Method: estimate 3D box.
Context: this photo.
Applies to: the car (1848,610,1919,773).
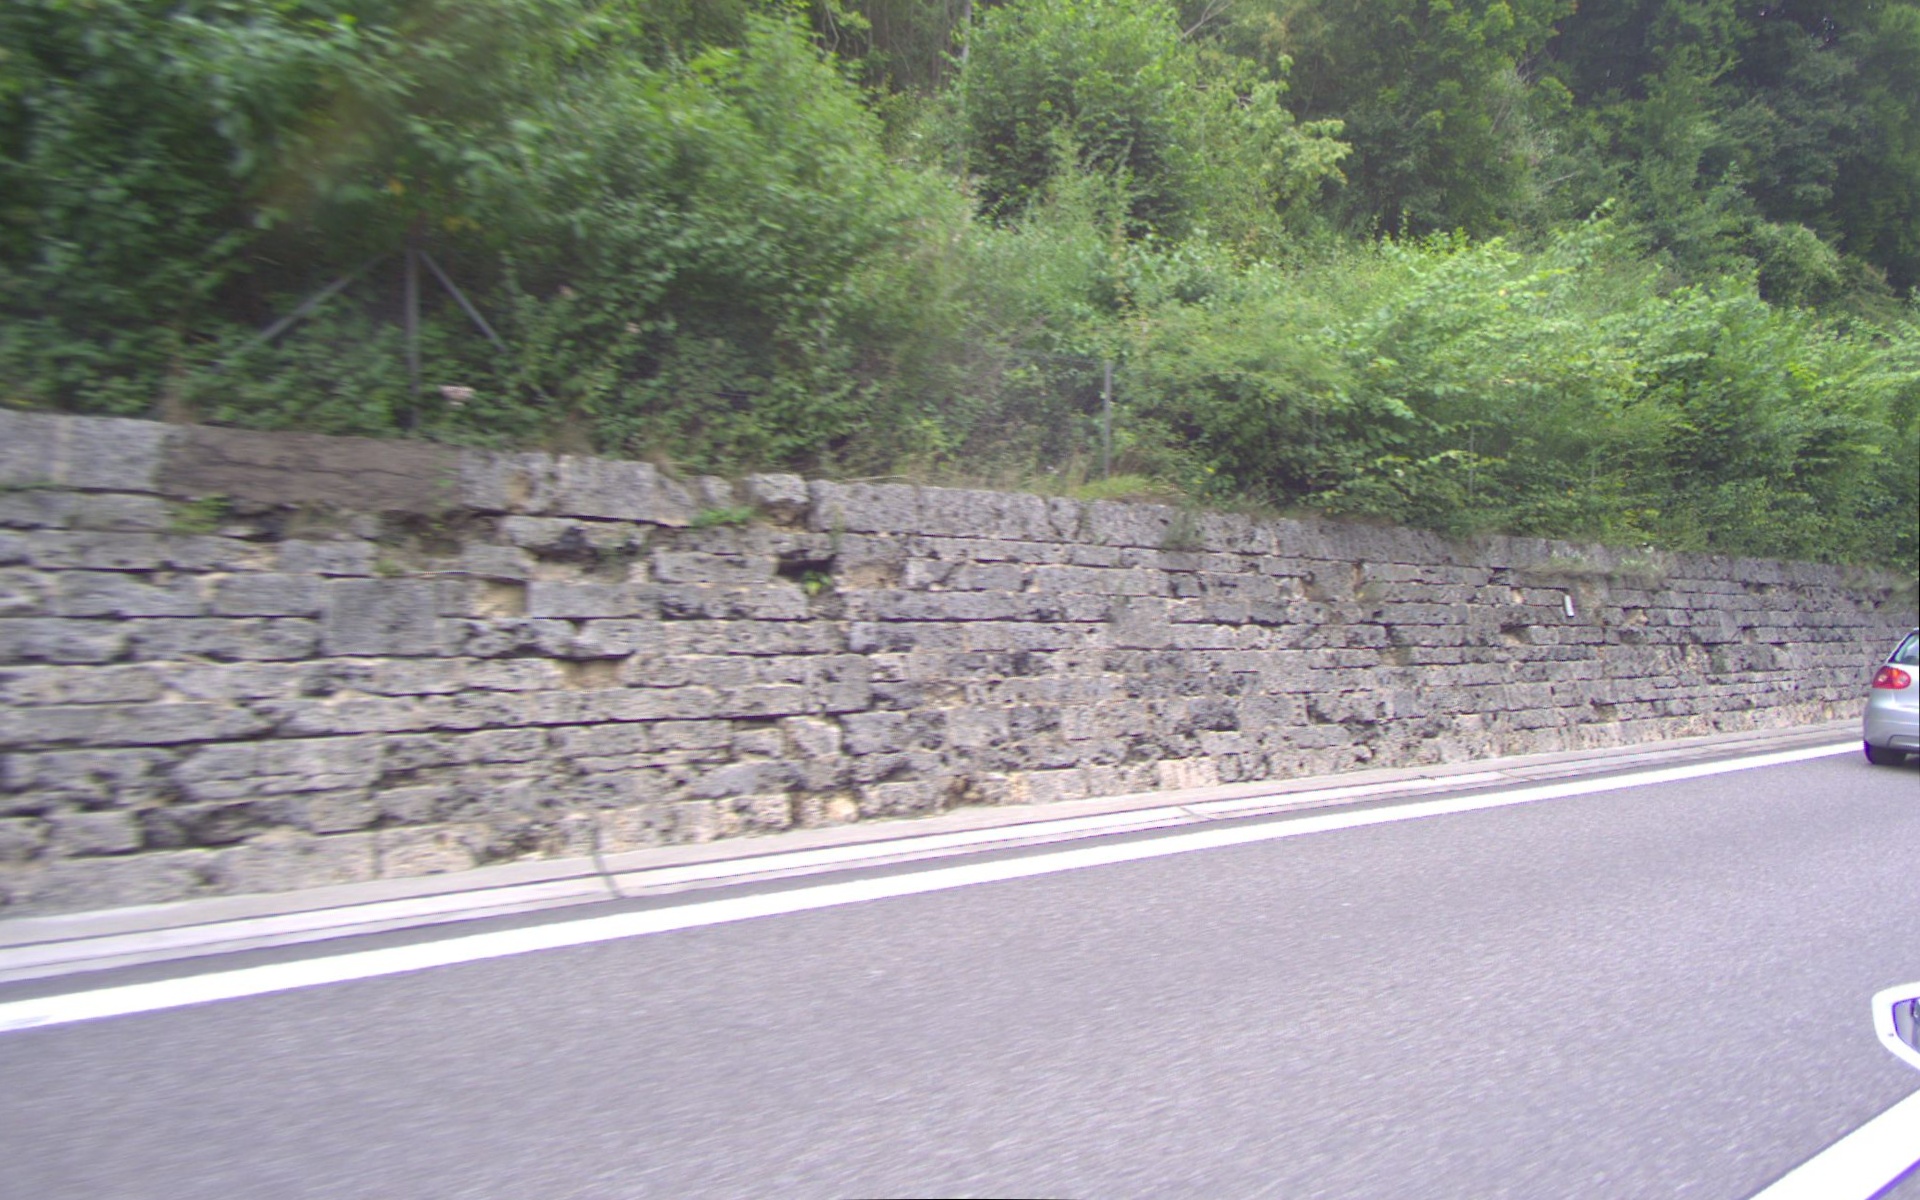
[{"bbox_3d":[11.166,0.962,10.429,4.532,1.535,1.672,3,-1,-32],"label":"car"}]
